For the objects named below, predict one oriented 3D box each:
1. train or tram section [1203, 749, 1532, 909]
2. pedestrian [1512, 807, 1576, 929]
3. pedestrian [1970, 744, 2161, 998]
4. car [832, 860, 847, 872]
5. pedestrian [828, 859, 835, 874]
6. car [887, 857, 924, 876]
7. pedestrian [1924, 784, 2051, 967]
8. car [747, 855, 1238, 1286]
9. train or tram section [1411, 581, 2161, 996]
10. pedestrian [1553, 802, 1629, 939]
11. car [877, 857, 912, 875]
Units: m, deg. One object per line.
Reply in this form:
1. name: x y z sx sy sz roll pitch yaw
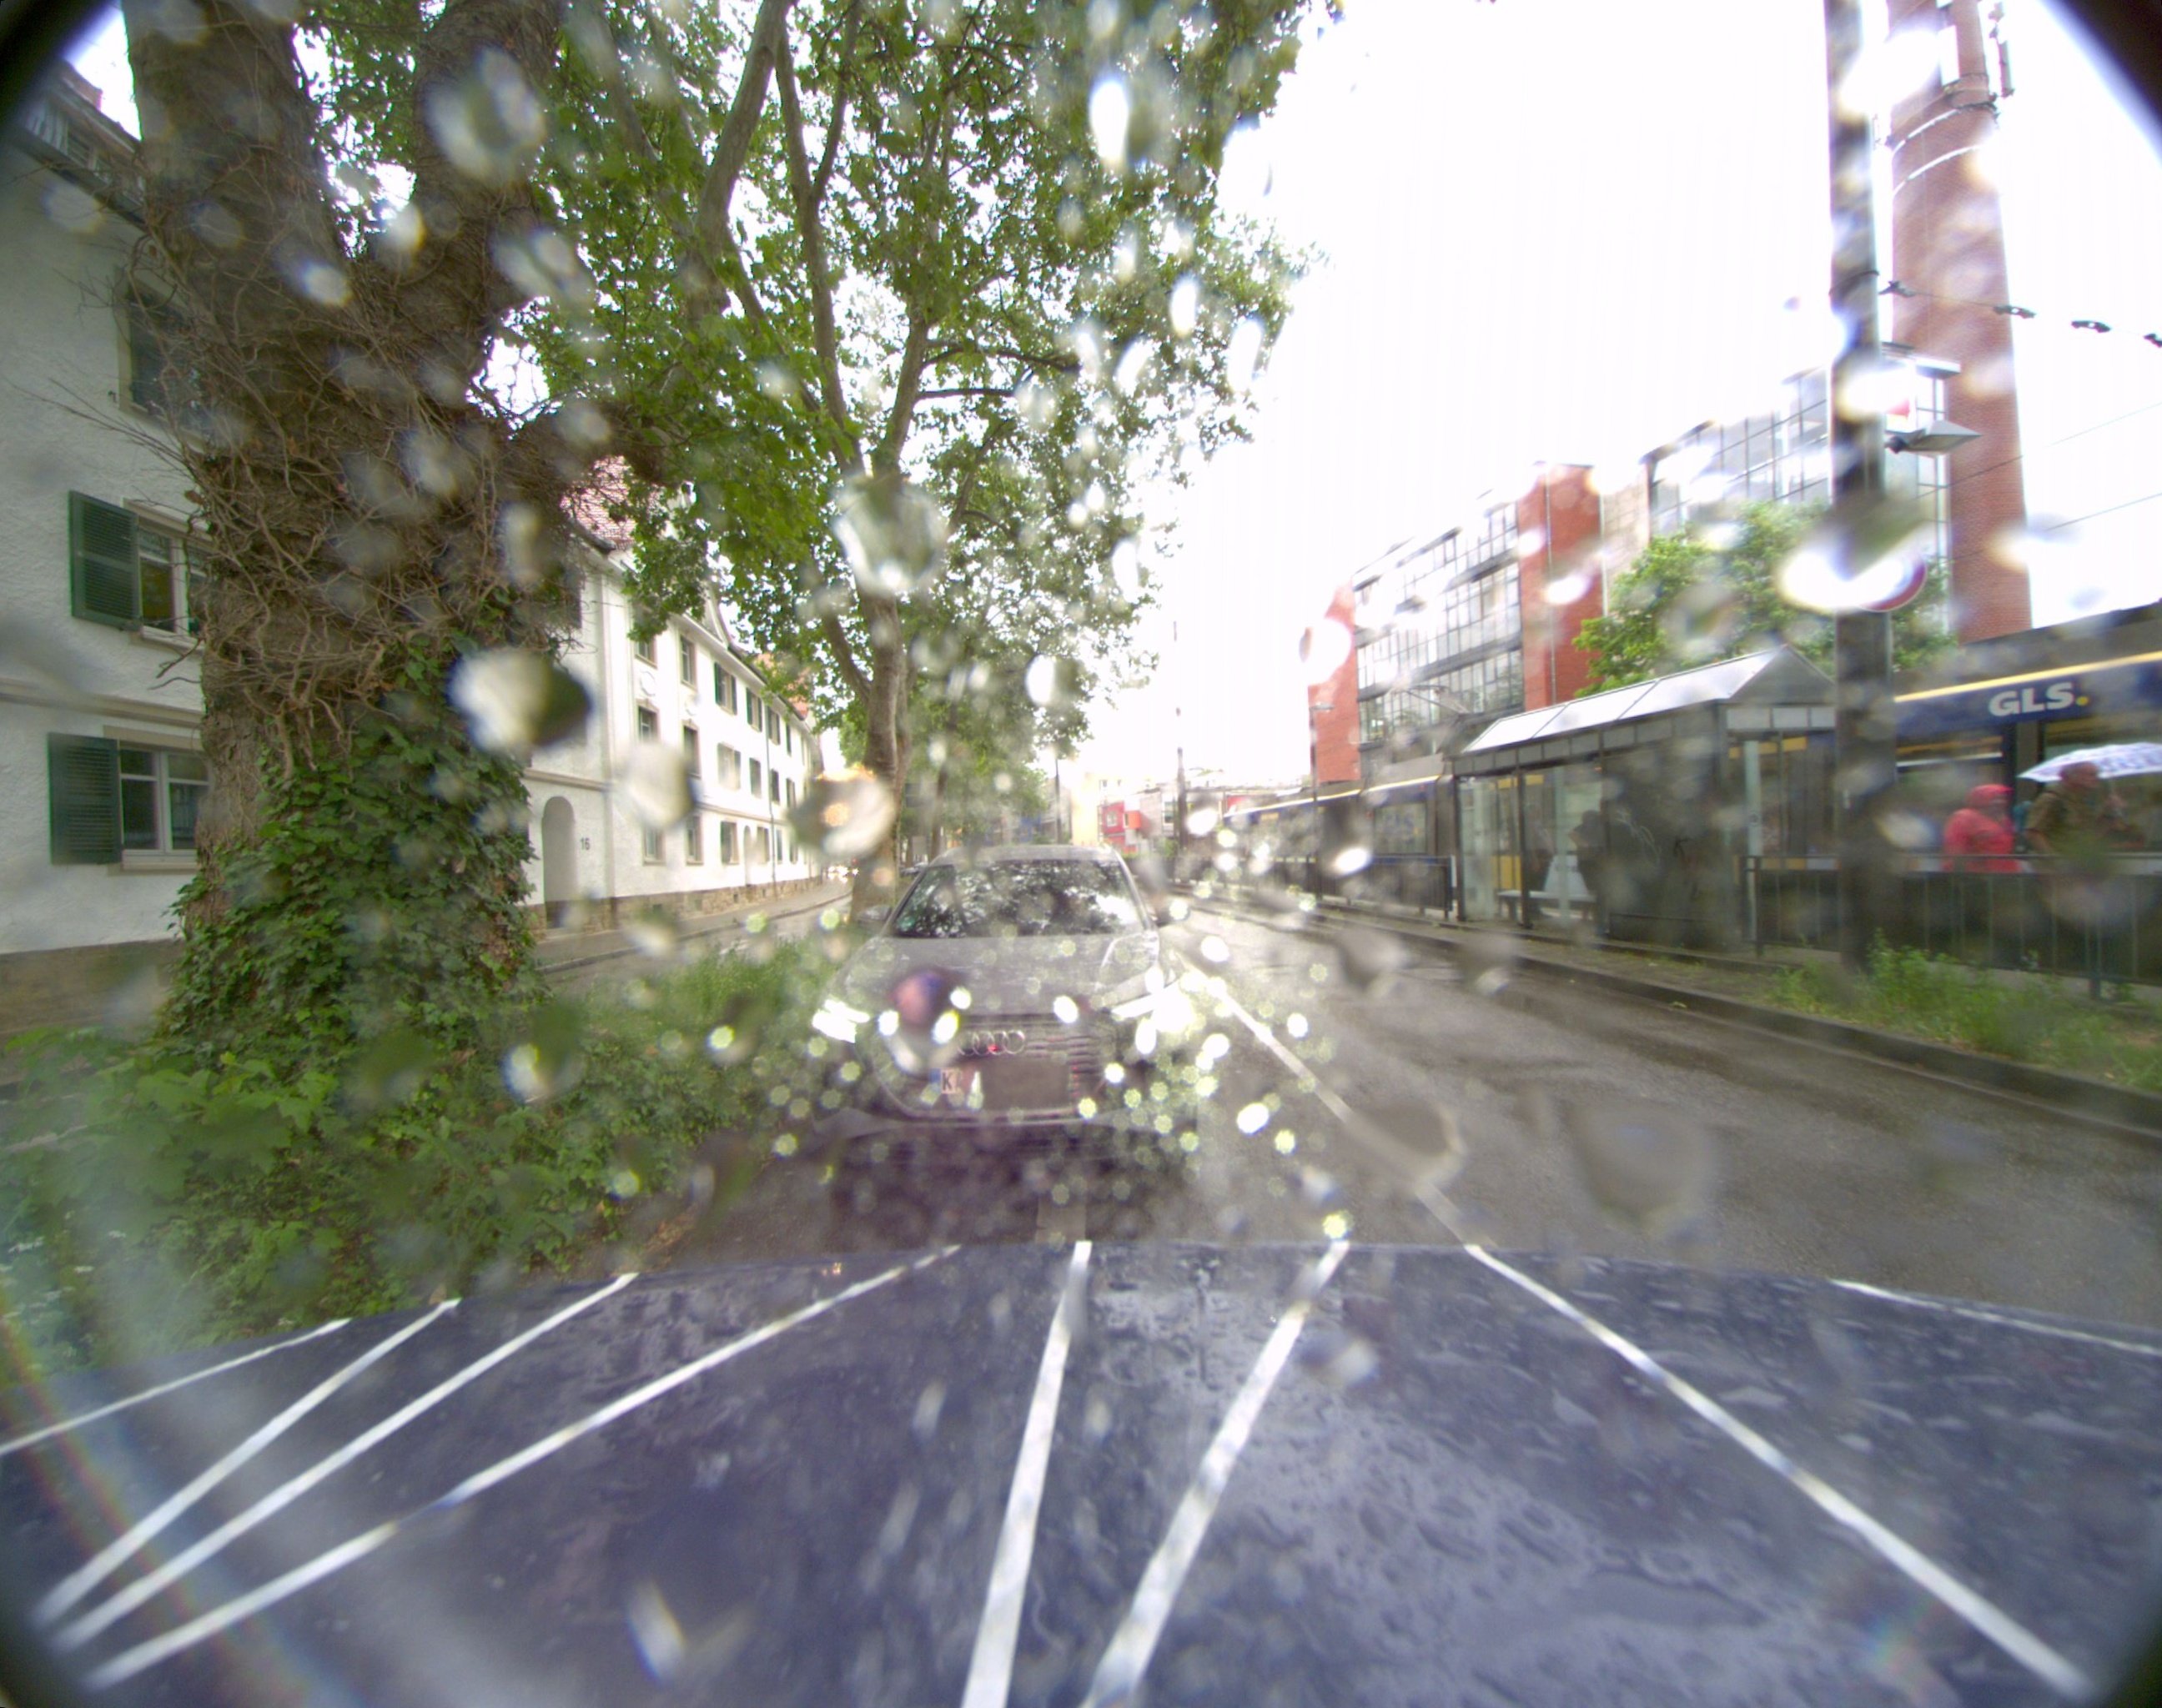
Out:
1. train or tram section: 7.779 -0.582 24.844 2.869 3.525 15.361 -2 0 -8
2. pedestrian: 6.816 0.203 11.205 0.629 1.738 0.514 -2 1 9
3. pedestrian: 8.152 0.140 6.005 0.986 1.815 1.076 0 -2 -10
4. car: -47.605 2.339 149.656 2.199 2.250 5.401 -3 0 -24
5. pedestrian: -30.135 1.519 91.730 0.674 1.811 0.678 -3 1 -18
6. car: -20.243 1.464 87.570 4.002 2.002 1.997 -2 0 -17
7. pedestrian: 8.349 0.197 6.999 0.799 1.562 0.658 1 -2 -36
8. car: -0.411 0.871 5.127 1.917 1.632 4.106 -2 0 -2
9. train or tram section: 9.967 -0.601 10.454 2.869 3.525 13.704 -2 0 -9
10. pedestrian: 6.735 0.216 10.053 0.629 1.738 0.564 -2 1 9
11. car: -23.216 1.498 94.664 4.002 2.002 1.997 -2 0 -17
